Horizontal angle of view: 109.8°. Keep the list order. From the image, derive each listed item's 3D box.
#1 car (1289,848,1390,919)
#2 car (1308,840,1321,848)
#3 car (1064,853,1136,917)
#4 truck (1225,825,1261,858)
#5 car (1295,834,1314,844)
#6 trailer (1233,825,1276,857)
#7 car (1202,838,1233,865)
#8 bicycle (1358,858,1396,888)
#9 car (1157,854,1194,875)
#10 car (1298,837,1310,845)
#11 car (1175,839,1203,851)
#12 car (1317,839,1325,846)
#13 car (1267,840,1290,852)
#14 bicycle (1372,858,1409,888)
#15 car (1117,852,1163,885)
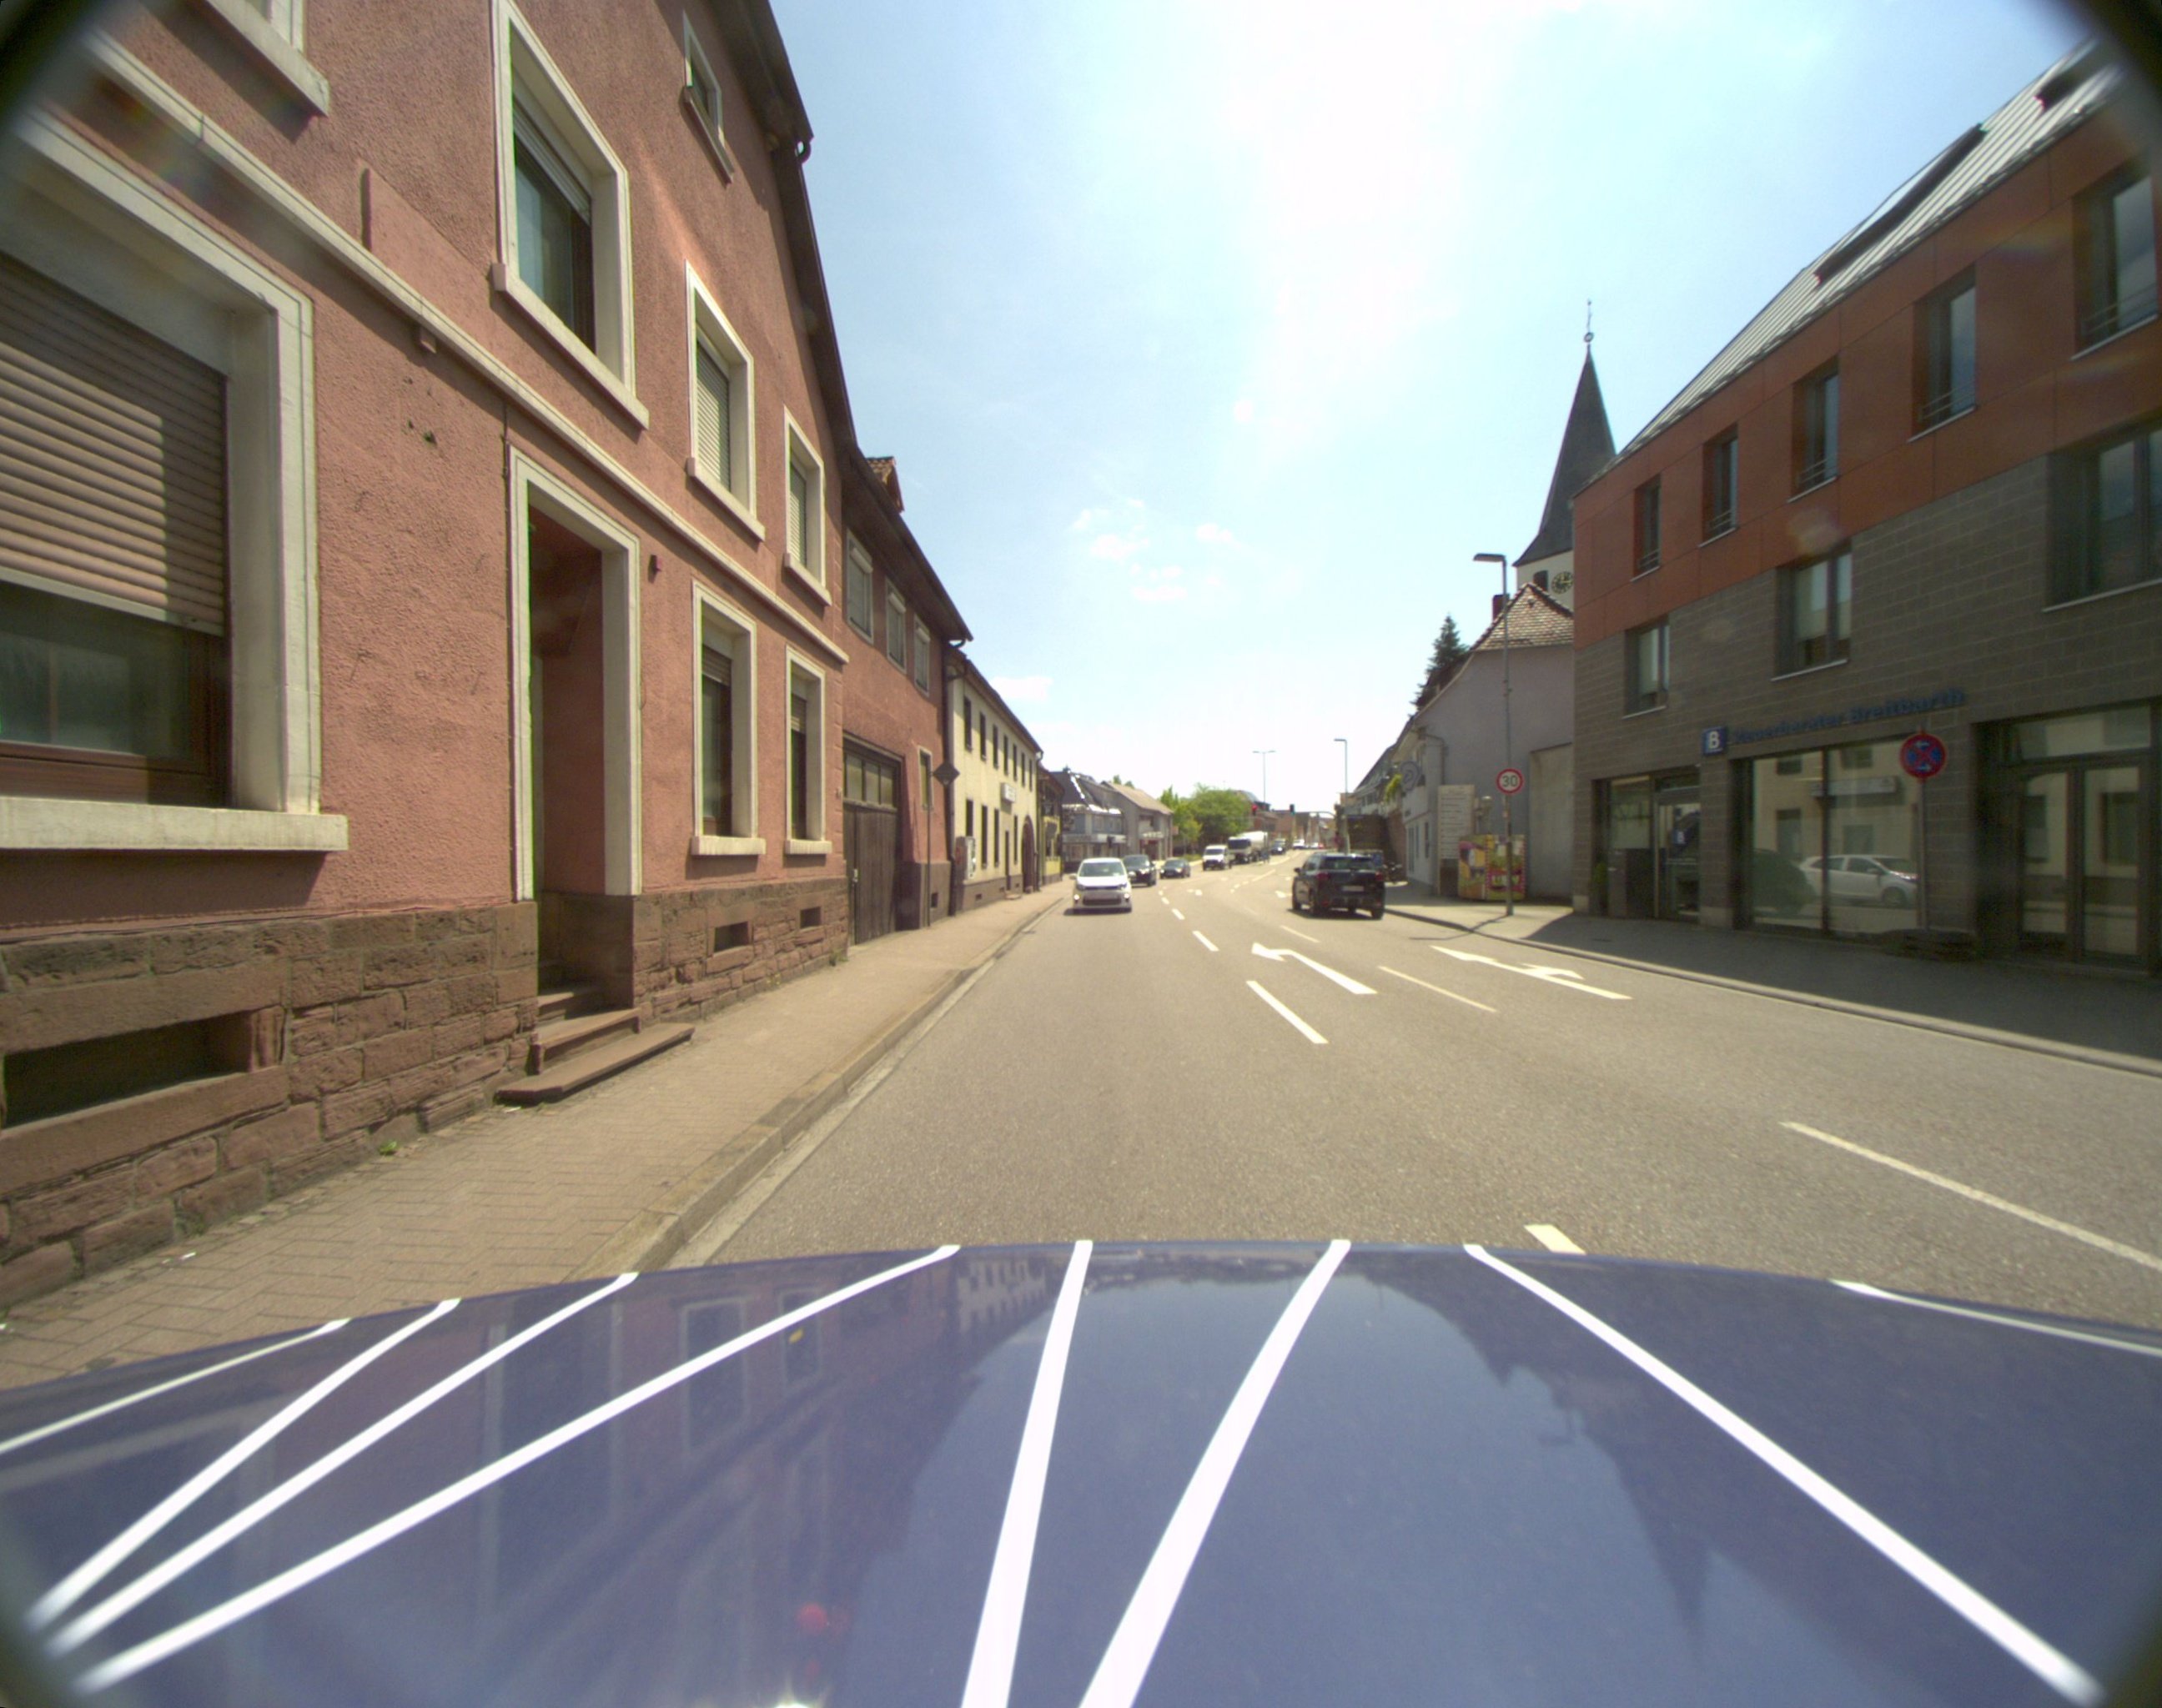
[{"bbox_3d":[6.650,0.680,19.967,1.673,1.648,4.019,1,1,7],"label":"car"},{"bbox_3d":[53.387,-2.279,173.834,2.008,1.621,4.586,0,0,28],"label":"car"},{"bbox_3d":[0.635,0.786,21.542,1.724,1.541,4.304,-2,0,5],"label":"car"},{"bbox_3d":[18.469,-1.427,86.430,2.843,3.549,5.477,0,1,25],"label":"truck"},{"bbox_3d":[40.031,-2.655,136.209,2.007,1.621,4.587,0,1,34],"label":"car"},{"bbox_3d":[21.312,-1.551,92.552,2.833,3.549,10.983,0,0,25],"label":"trailer"},{"bbox_3d":[13.294,-0.238,73.805,2.172,2.549,4.831,-1,1,20],"label":"car"},{"bbox_3d":[13.576,0.882,34.836,1.834,1.241,0.577,-3,-1,-34],"label":"bicycle"},{"bbox_3d":[7.035,0.773,56.249,1.926,1.358,4.308,-2,0,18],"label":"car"},{"bbox_3d":[45.340,-2.594,154.597,2.008,1.621,4.584,-1,0,20],"label":"car"},{"bbox_3d":[15.822,-1.313,110.904,3.755,1.701,1.727,-2,1,17],"label":"car"},{"bbox_3d":[61.892,-3.016,196.028,1.763,1.775,4.005,-2,1,21],"label":"car"},{"bbox_3d":[27.536,-1.079,105.845,2.008,1.621,4.586,0,0,27],"label":"car"},{"bbox_3d":[13.997,0.872,34.338,1.834,1.241,0.577,-3,-1,-34],"label":"bicycle"},{"bbox_3d":[3.135,0.700,39.559,1.723,1.541,4.307,-2,0,13],"label":"car"}]
